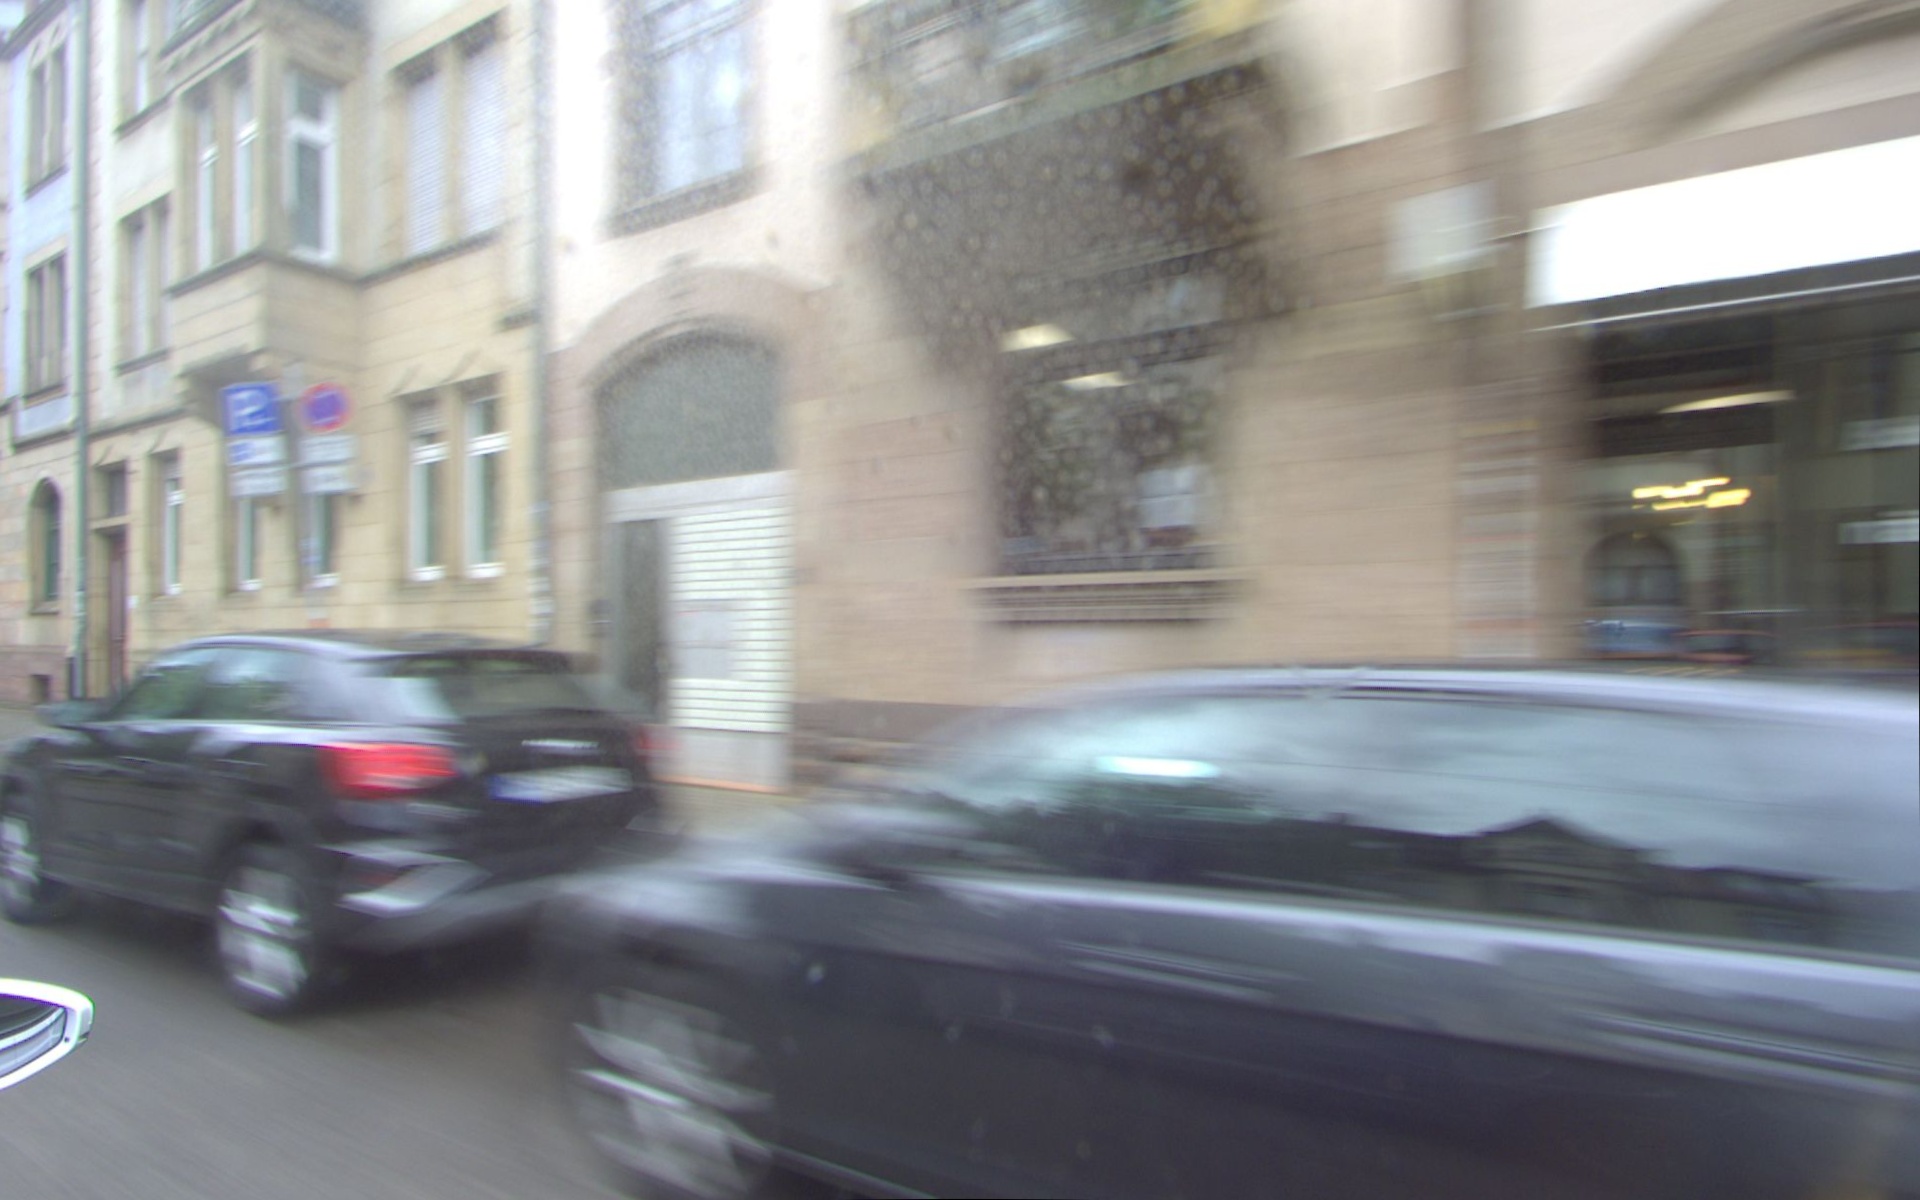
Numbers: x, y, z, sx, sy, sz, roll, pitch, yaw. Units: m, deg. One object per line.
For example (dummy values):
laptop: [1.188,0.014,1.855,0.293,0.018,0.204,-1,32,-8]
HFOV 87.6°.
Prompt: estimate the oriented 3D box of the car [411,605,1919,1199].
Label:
car: [0.633,0.852,2.679,4.327,1.531,1.697,-1,-4,31]

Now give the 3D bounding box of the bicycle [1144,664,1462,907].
bicycle: [1.833,0.940,5.440,1.565,1.113,0.419,-1,4,32]

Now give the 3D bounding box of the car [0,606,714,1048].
car: [-3.544,0.876,5.344,4.354,1.531,1.697,-1,-4,30]
